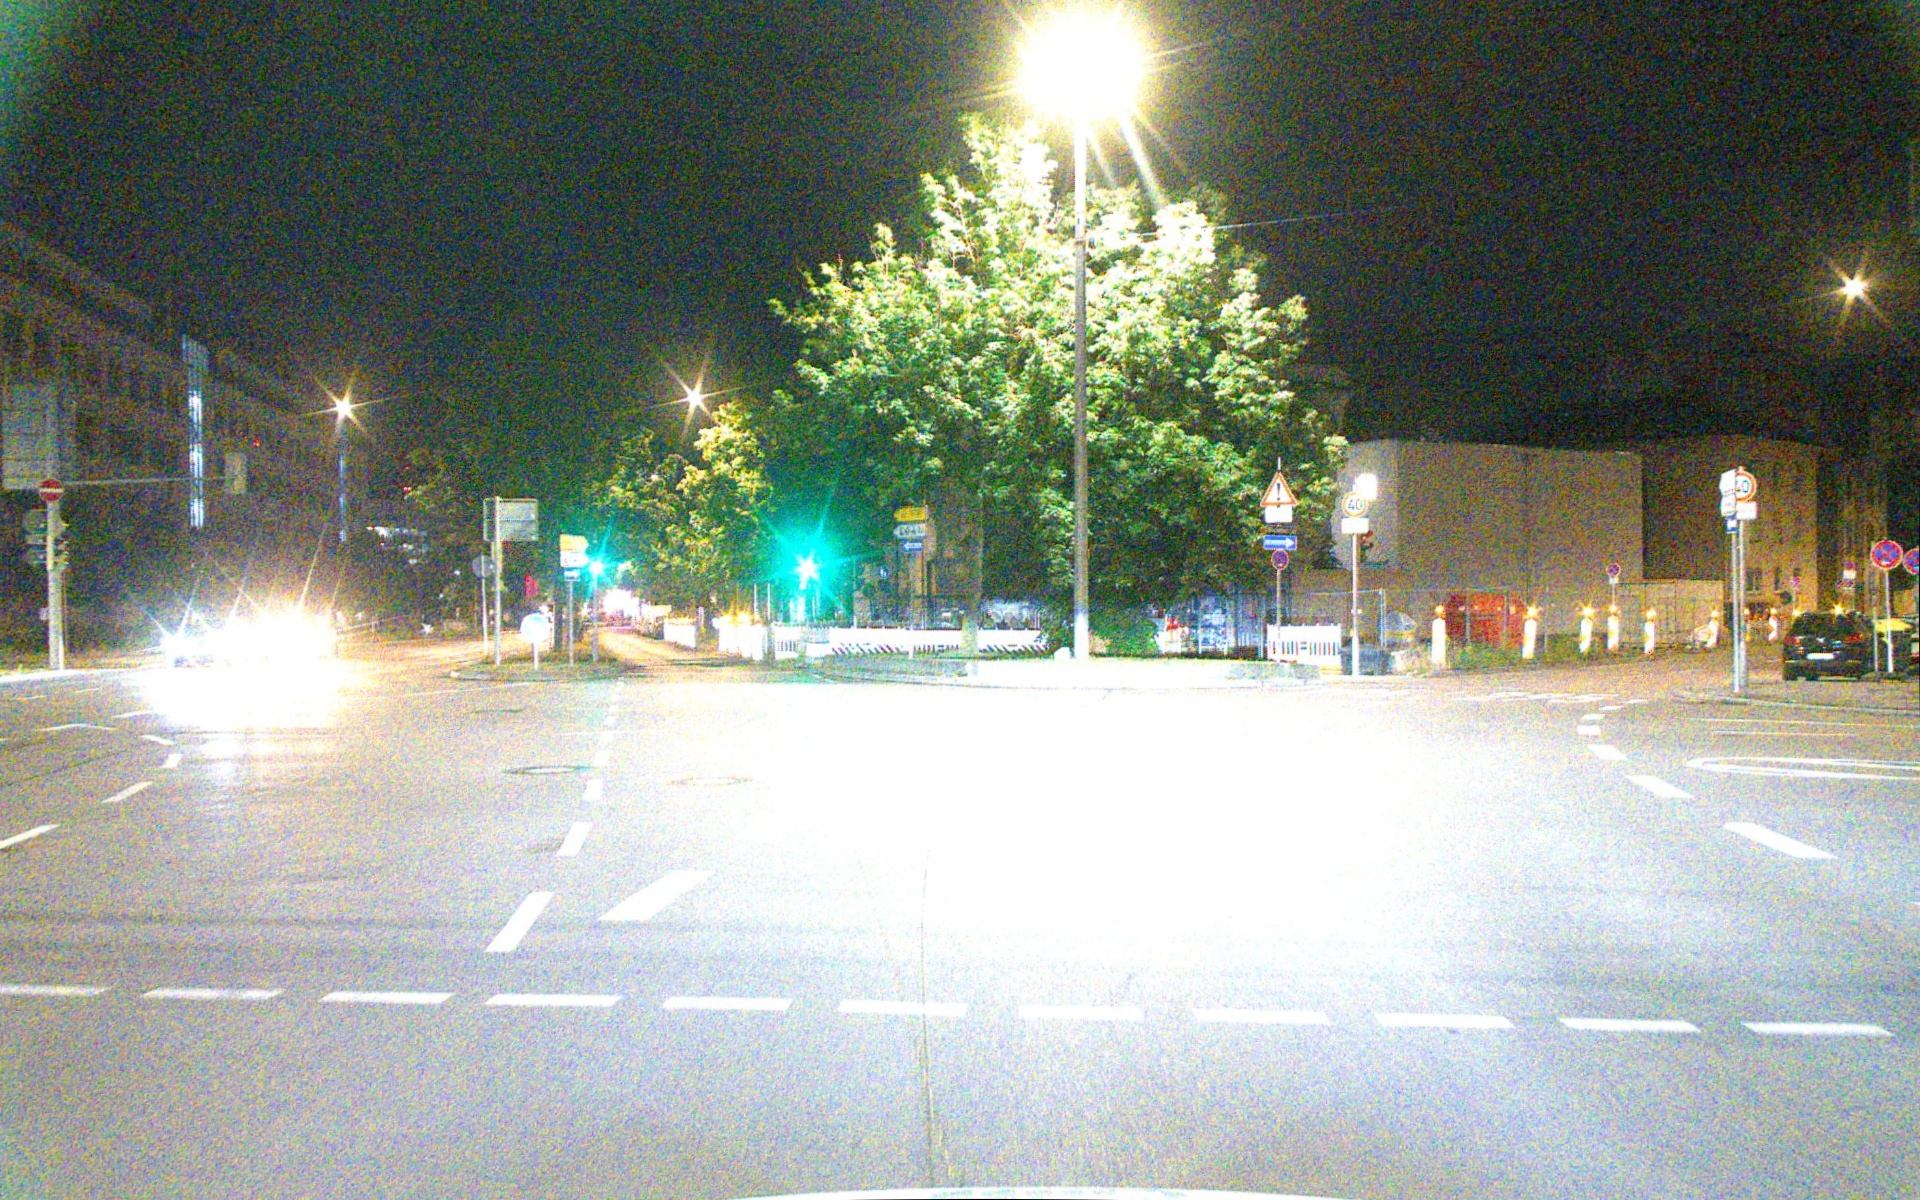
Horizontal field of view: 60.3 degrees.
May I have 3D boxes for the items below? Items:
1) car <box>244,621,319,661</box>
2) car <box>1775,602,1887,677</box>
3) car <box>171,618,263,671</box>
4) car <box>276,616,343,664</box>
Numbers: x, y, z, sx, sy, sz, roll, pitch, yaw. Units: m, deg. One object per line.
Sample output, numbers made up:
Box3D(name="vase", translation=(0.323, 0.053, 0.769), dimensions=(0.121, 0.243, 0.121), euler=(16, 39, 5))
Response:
Box3D(name="car", translation=(-23.532, 1.407, 57.456), dimensions=(1.726, 1.345, 3.538), euler=(0, -1, -11))
Box3D(name="car", translation=(20.116, 0.899, 38.149), dimensions=(1.699, 1.640, 3.608), euler=(-1, -2, 37))
Box3D(name="car", translation=(-22.443, 1.342, 50.087), dimensions=(1.586, 1.541, 3.990), euler=(0, -1, -10))
Box3D(name="car", translation=(-24.647, 1.506, 62.763), dimensions=(1.726, 1.758, 3.538), euler=(0, -1, -11))
